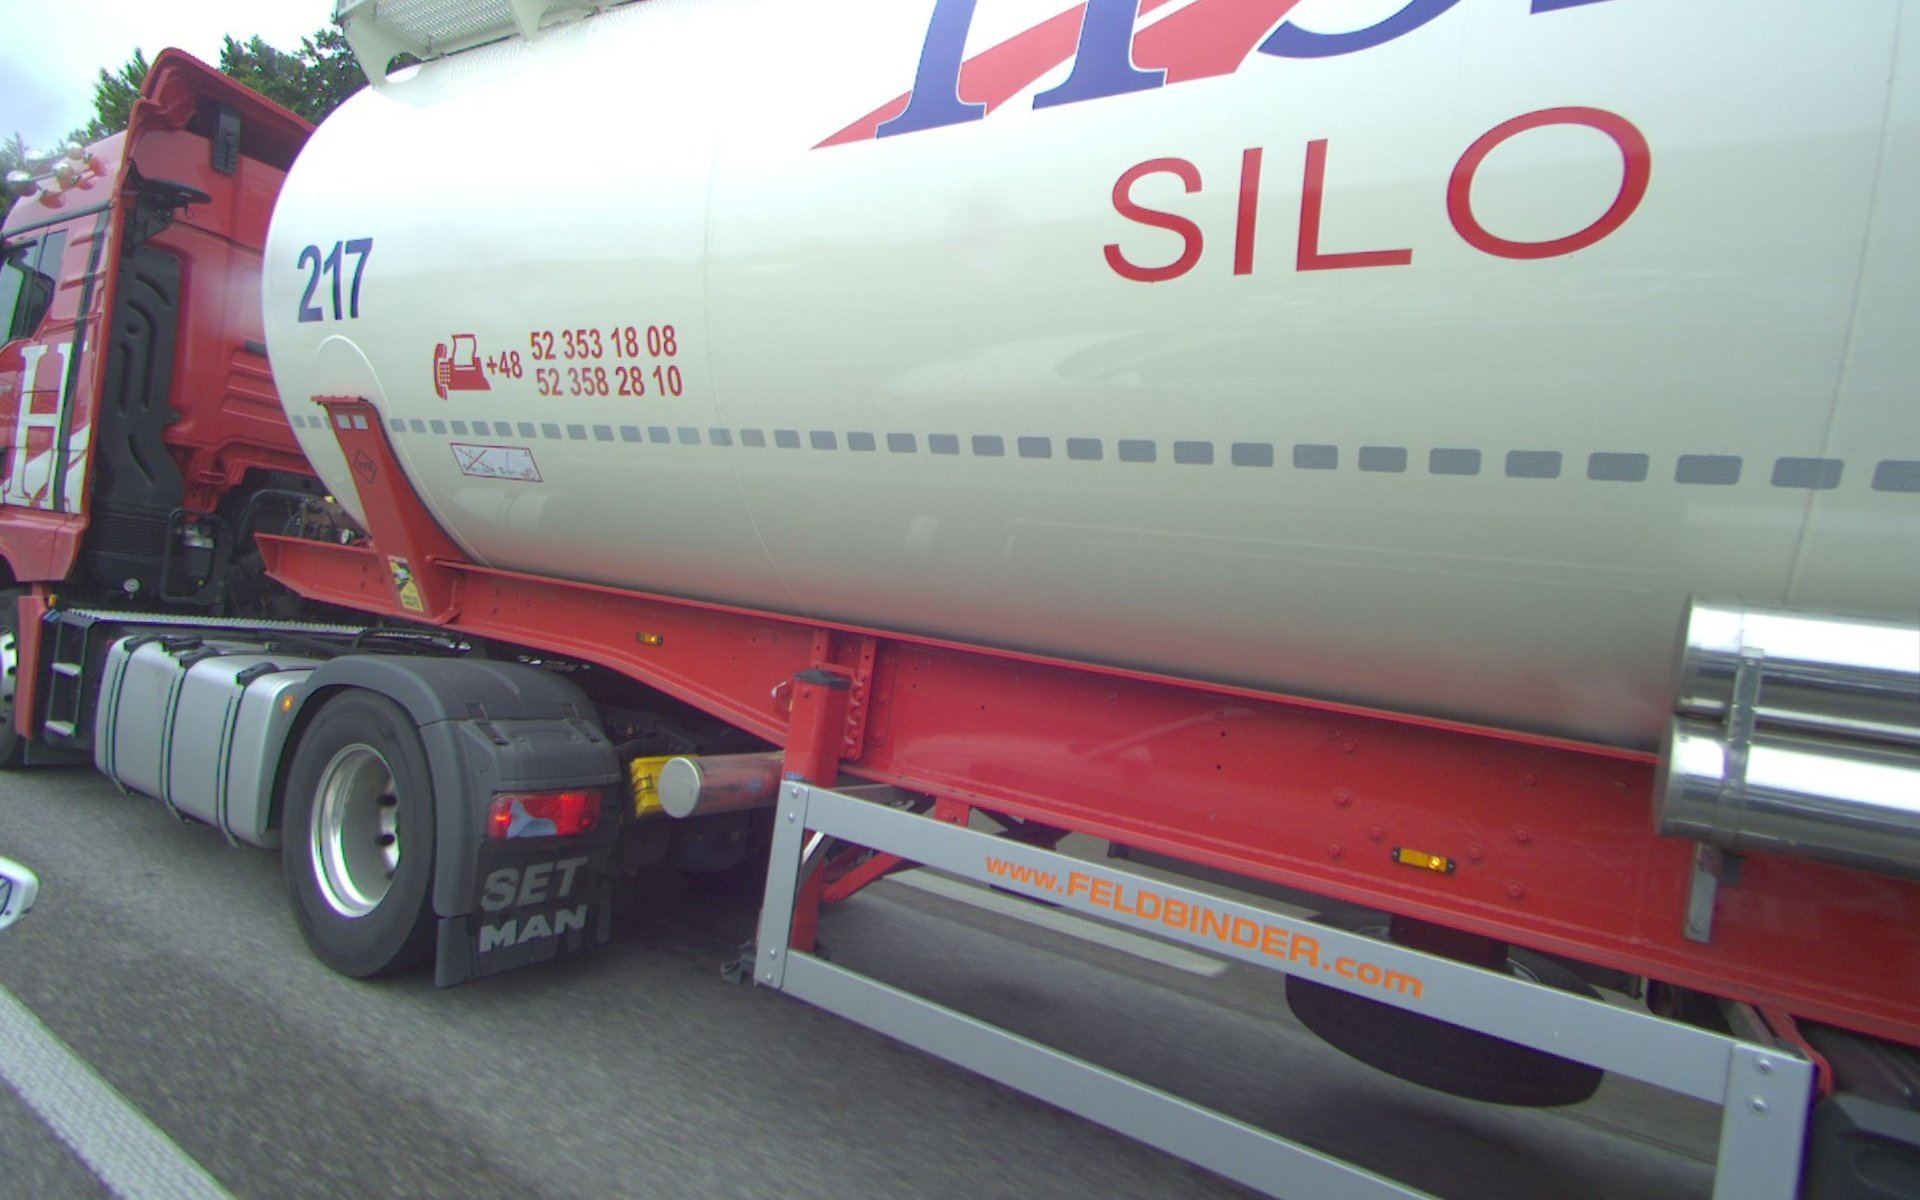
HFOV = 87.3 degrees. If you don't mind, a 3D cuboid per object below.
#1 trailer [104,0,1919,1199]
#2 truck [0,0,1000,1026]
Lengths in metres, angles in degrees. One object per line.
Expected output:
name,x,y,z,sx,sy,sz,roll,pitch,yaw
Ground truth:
trailer,2.632,-0.131,2.169,12.912,3.986,2.672,7,-1,32
truck,-3.418,-0.835,5.929,6.448,3.959,2.699,6,-1,32
